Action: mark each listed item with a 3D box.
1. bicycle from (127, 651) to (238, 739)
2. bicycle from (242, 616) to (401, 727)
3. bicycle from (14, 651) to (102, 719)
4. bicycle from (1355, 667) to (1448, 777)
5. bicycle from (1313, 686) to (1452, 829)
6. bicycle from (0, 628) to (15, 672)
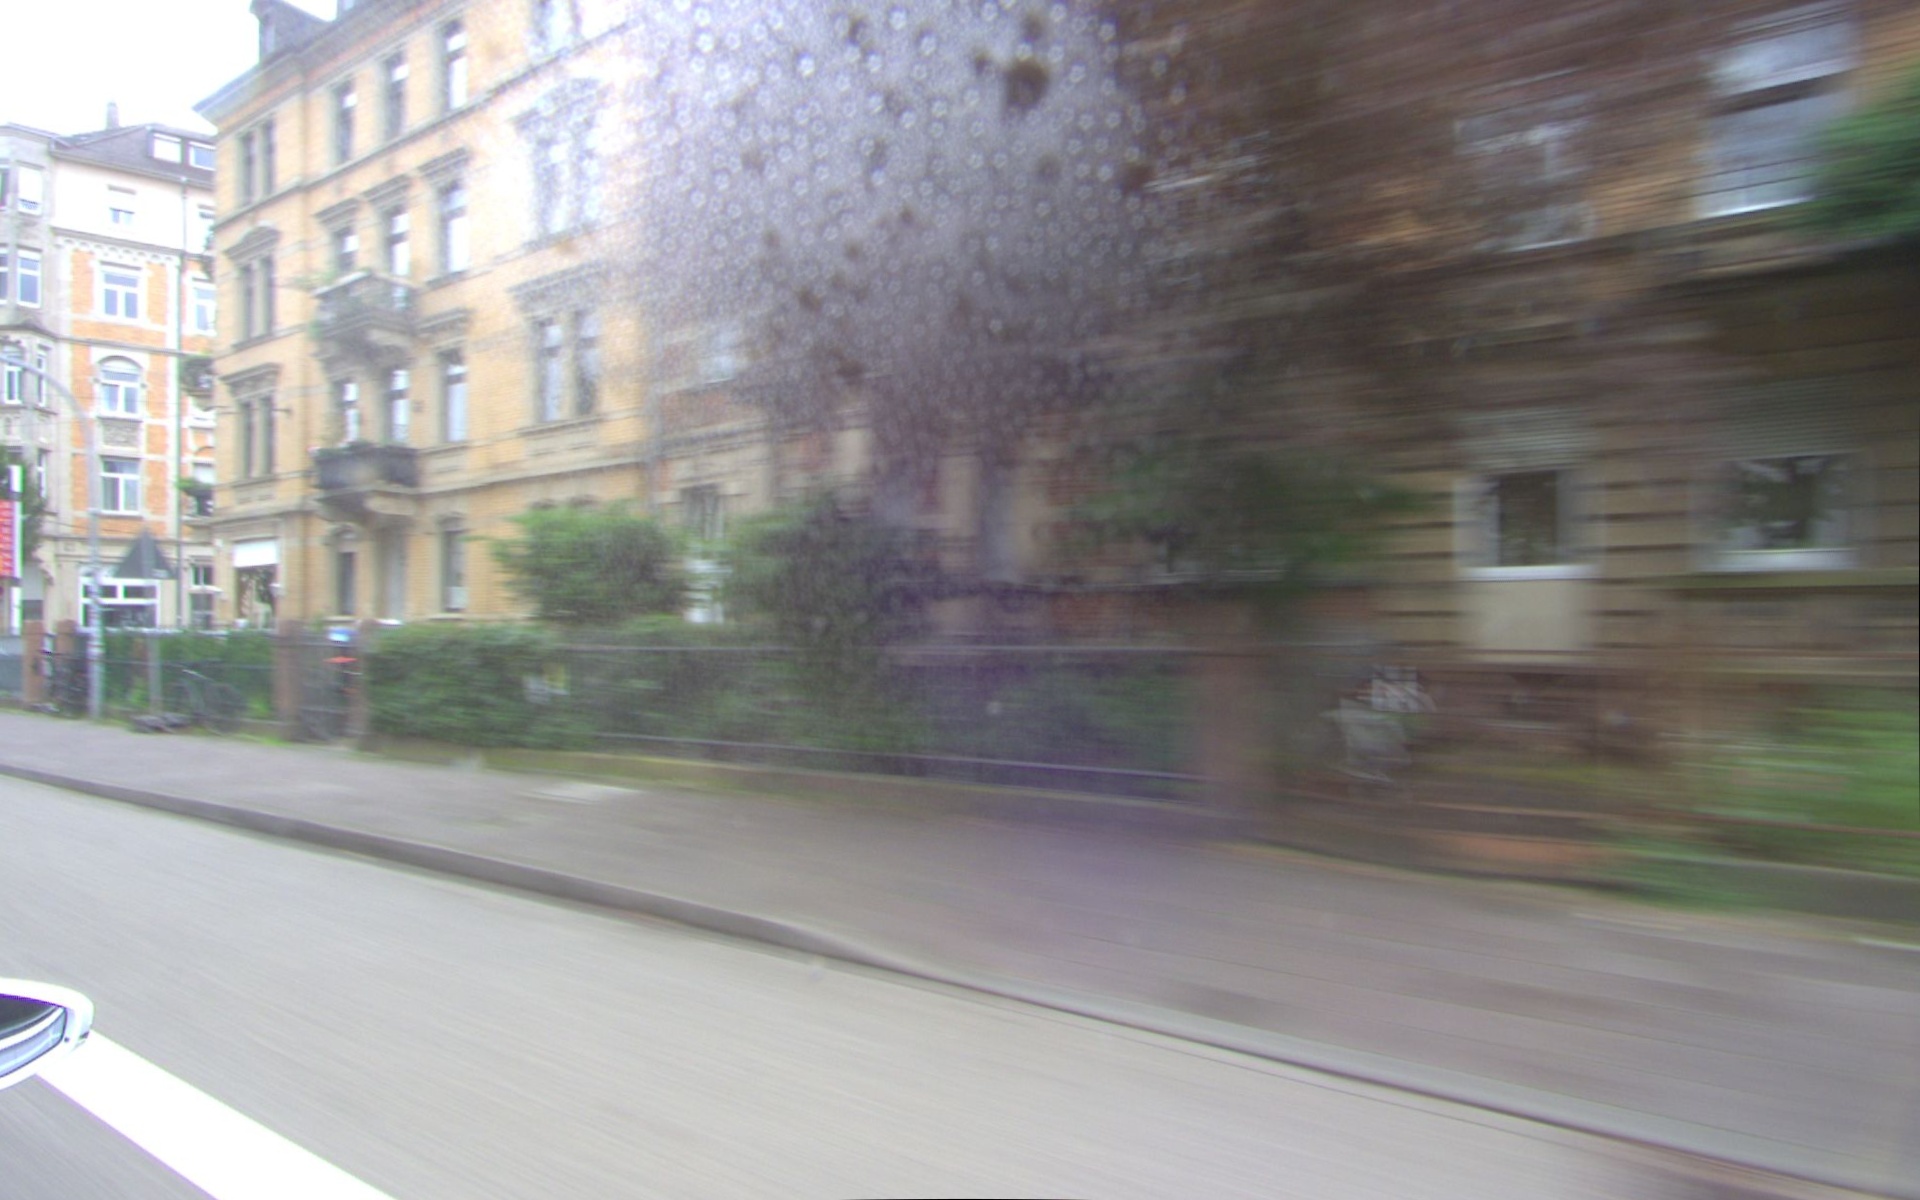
[{"bbox_3d":[-11.027,1.309,14.172,2.145,1.114,0.522,-1,1,33],"label":"bicycle"},{"bbox_3d":[-10.203,1.091,15.952,2.921,1.623,0.989,-1,-2,33],"label":"bicycle"},{"bbox_3d":[-15.037,1.395,16.673,2.145,1.043,0.522,-1,-1,33],"label":"bicycle"},{"bbox_3d":[4.155,1.115,9.509,0.562,0.901,1.540,0,-2,15],"label":"bicycle"},{"bbox_3d":[3.273,1.153,7.684,0.548,0.875,1.609,-1,-1,40],"label":"bicycle"},{"bbox_3d":[-34.093,1.736,35.357,0.910,1.526,2.361,1,-2,-40],"label":"bicycle"}]
